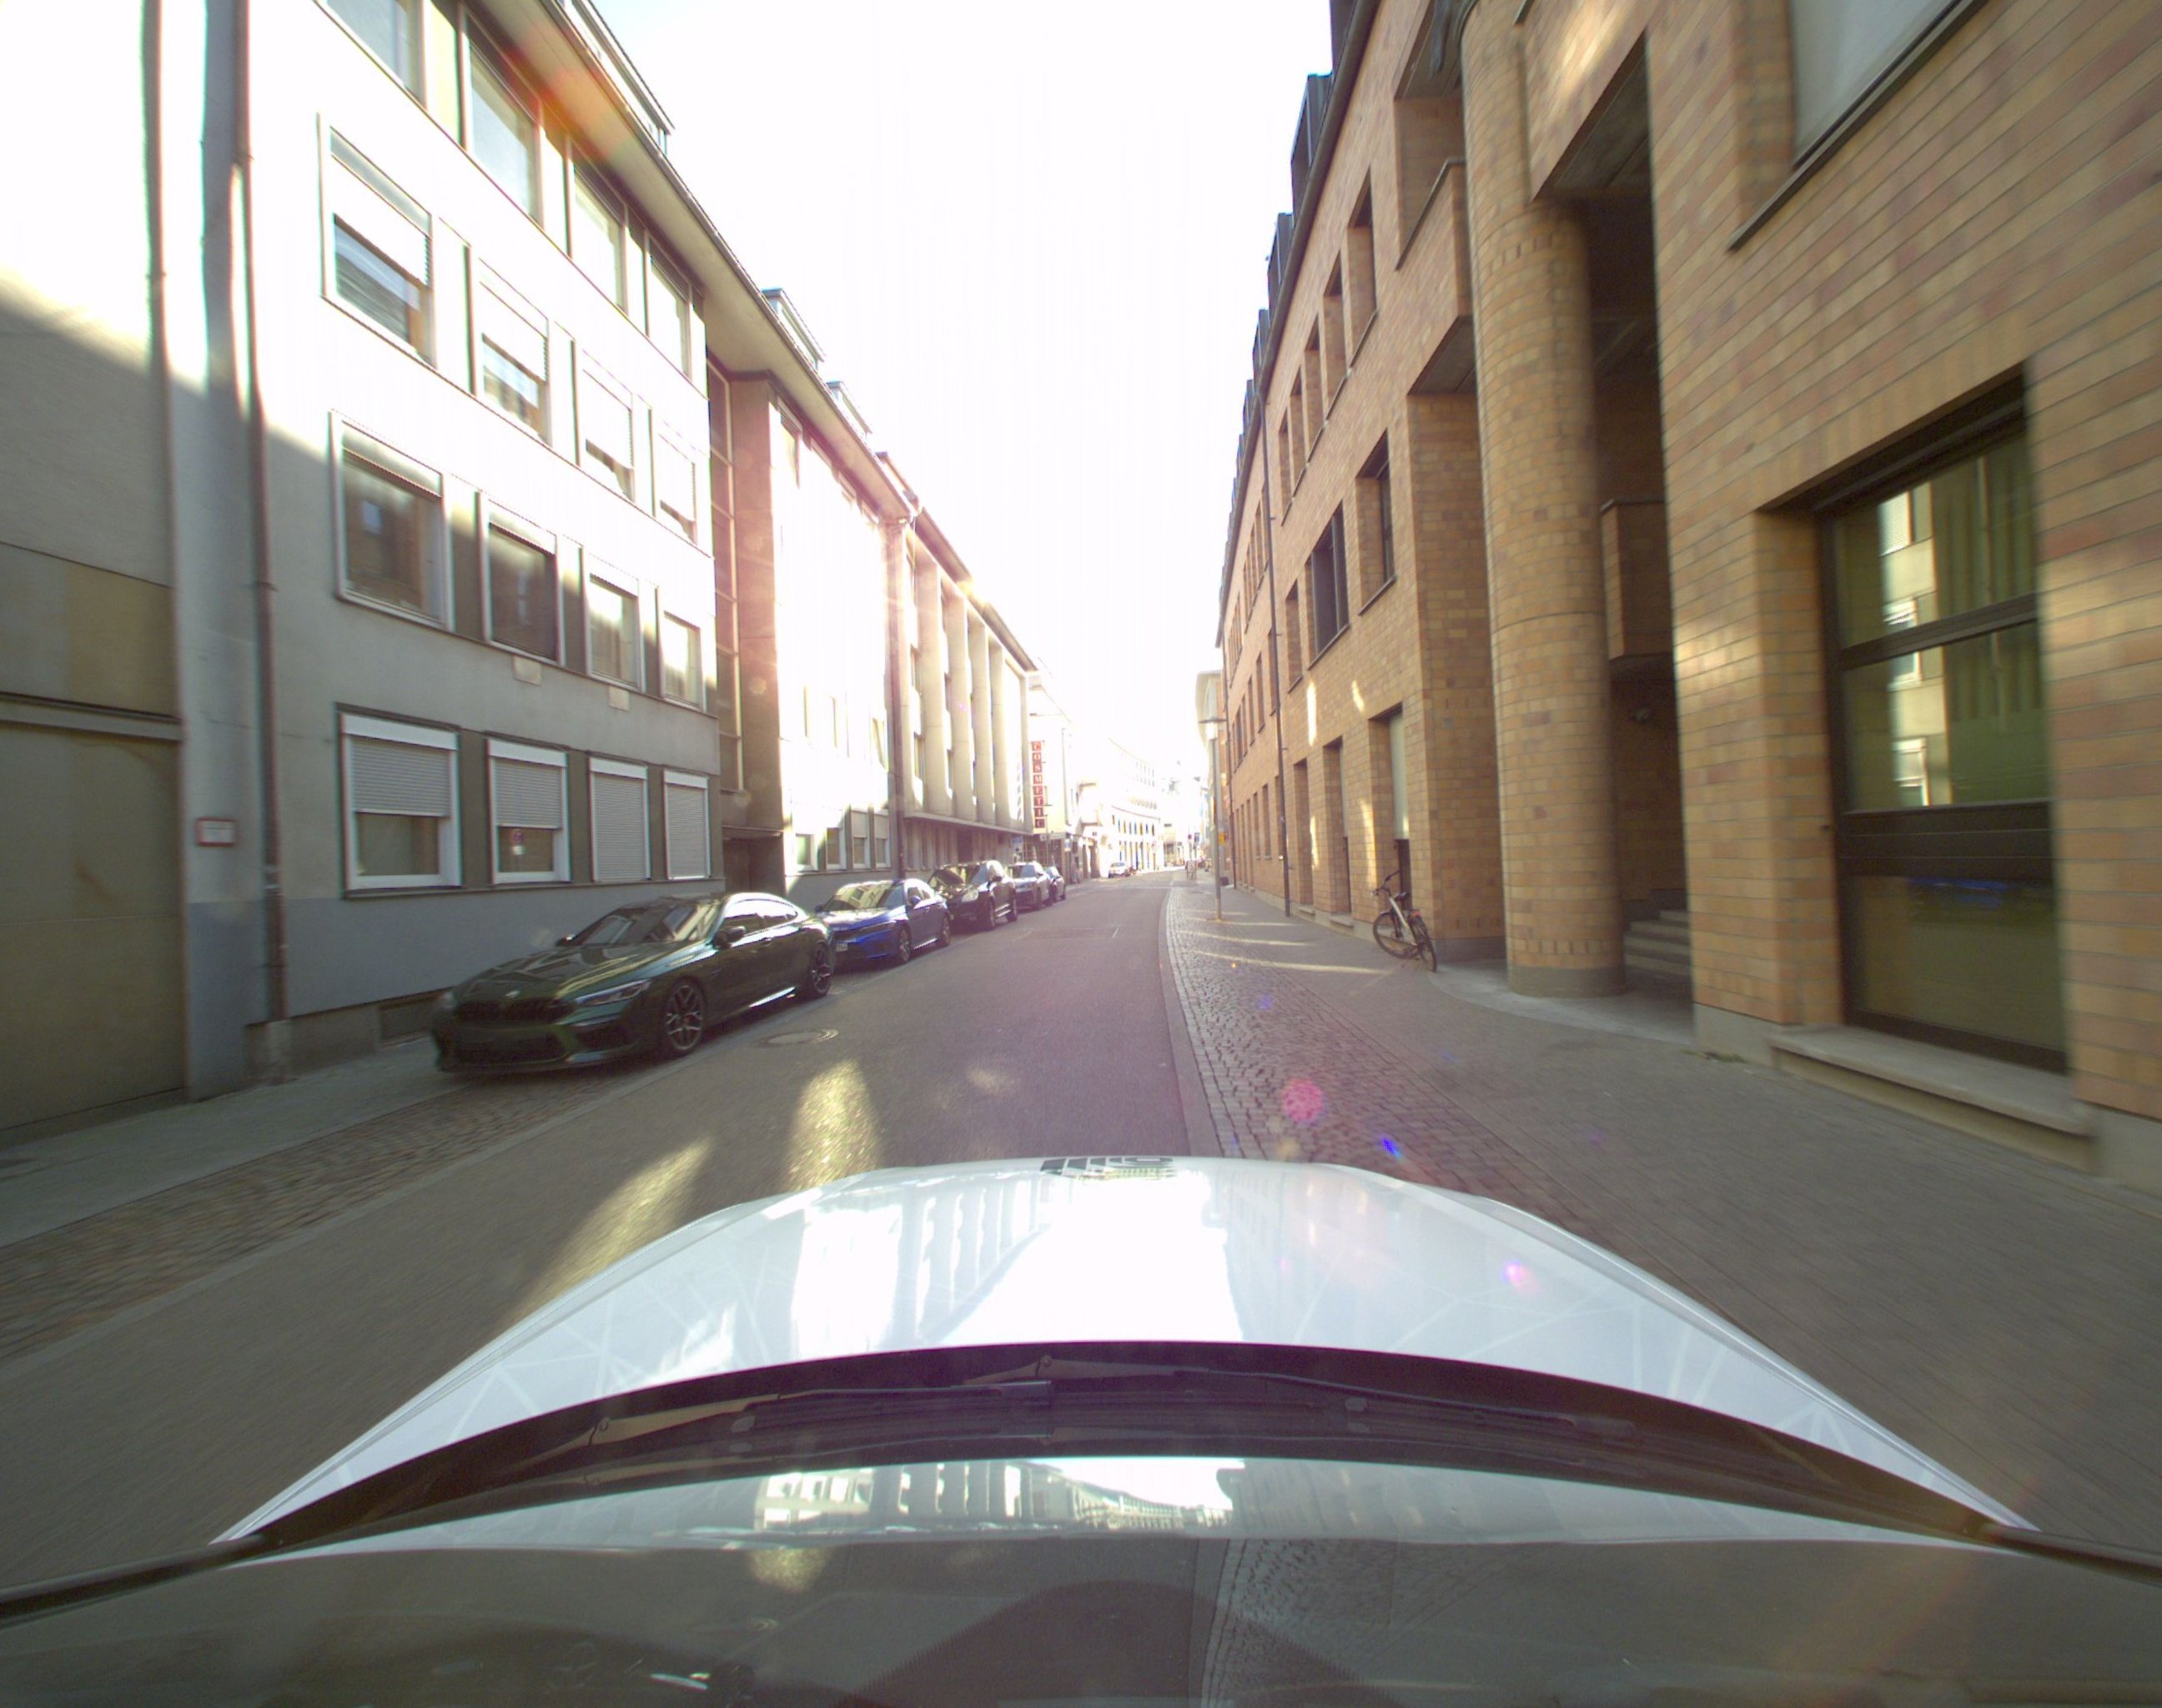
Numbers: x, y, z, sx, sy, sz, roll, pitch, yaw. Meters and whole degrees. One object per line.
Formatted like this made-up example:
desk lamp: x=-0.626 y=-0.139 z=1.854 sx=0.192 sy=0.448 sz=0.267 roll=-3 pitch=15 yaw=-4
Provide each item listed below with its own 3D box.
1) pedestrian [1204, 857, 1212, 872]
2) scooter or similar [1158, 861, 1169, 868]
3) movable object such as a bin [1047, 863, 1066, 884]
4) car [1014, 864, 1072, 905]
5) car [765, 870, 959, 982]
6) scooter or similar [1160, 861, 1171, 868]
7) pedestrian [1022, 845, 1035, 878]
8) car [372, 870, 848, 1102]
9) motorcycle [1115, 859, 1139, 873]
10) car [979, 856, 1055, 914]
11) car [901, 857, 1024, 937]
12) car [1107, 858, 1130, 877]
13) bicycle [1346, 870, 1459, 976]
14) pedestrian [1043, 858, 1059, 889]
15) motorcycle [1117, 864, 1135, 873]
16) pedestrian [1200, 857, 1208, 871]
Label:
pedestrian: x=15.720 y=1.259 z=100.568 sx=0.662 sy=1.869 sz=0.755 roll=0 pitch=-1 yaw=-24
scooter or similar: x=11.696 y=1.511 z=115.630 sx=0.520 sy=0.928 sz=2.242 roll=-2 pitch=0 yaw=37
movable object such as a bin: x=-1.727 y=1.378 z=57.119 sx=0.939 sy=1.420 sz=0.874 roll=0 pitch=-2 yaw=-40
car: x=-1.532 y=1.218 z=34.052 sx=1.640 sy=1.460 sz=4.006 roll=-5 pitch=-1 yaw=7
car: x=-3.687 y=1.148 z=14.622 sx=1.881 sy=1.530 sz=4.346 roll=-3 pitch=0 yaw=5
scooter or similar: x=12.318 y=1.506 z=118.799 sx=0.520 sy=0.928 sz=2.242 roll=-2 pitch=0 yaw=37
pedestrian: x=-2.874 y=0.401 z=44.492 sx=0.443 sy=1.738 sz=0.556 roll=-3 pitch=-1 yaw=29
car: x=-4.316 y=1.069 z=8.624 sx=1.881 sy=1.530 sz=4.734 roll=-5 pitch=0 yaw=4
motorcycle: x=4.779 y=1.274 z=84.991 sx=2.378 sy=1.317 sz=0.863 roll=-4 pitch=-1 yaw=6
car: x=-2.112 y=1.005 z=28.184 sx=1.881 sy=1.742 sz=4.396 roll=-3 pitch=0 yaw=4
car: x=-2.856 y=0.990 z=20.710 sx=1.880 sy=1.675 sz=4.562 roll=-3 pitch=0 yaw=7
car: x=3.376 y=1.205 z=73.517 sx=1.727 sy=1.606 sz=3.540 roll=-2 pitch=0 yaw=7
bicycle: x=3.943 y=0.799 z=10.173 sx=0.548 sy=1.103 sz=1.982 roll=-6 pitch=0 yaw=1
pedestrian: x=-1.605 y=1.071 z=43.947 sx=0.649 sy=1.625 sz=0.452 roll=-2 pitch=-1 yaw=-35
motorcycle: x=4.505 y=1.455 z=80.894 sx=1.680 sy=0.859 sz=0.596 roll=-1 pitch=-1 yaw=11
pedestrian: x=15.977 y=1.284 z=105.957 sx=0.662 sy=1.869 sz=0.780 roll=0 pitch=-1 yaw=-24
